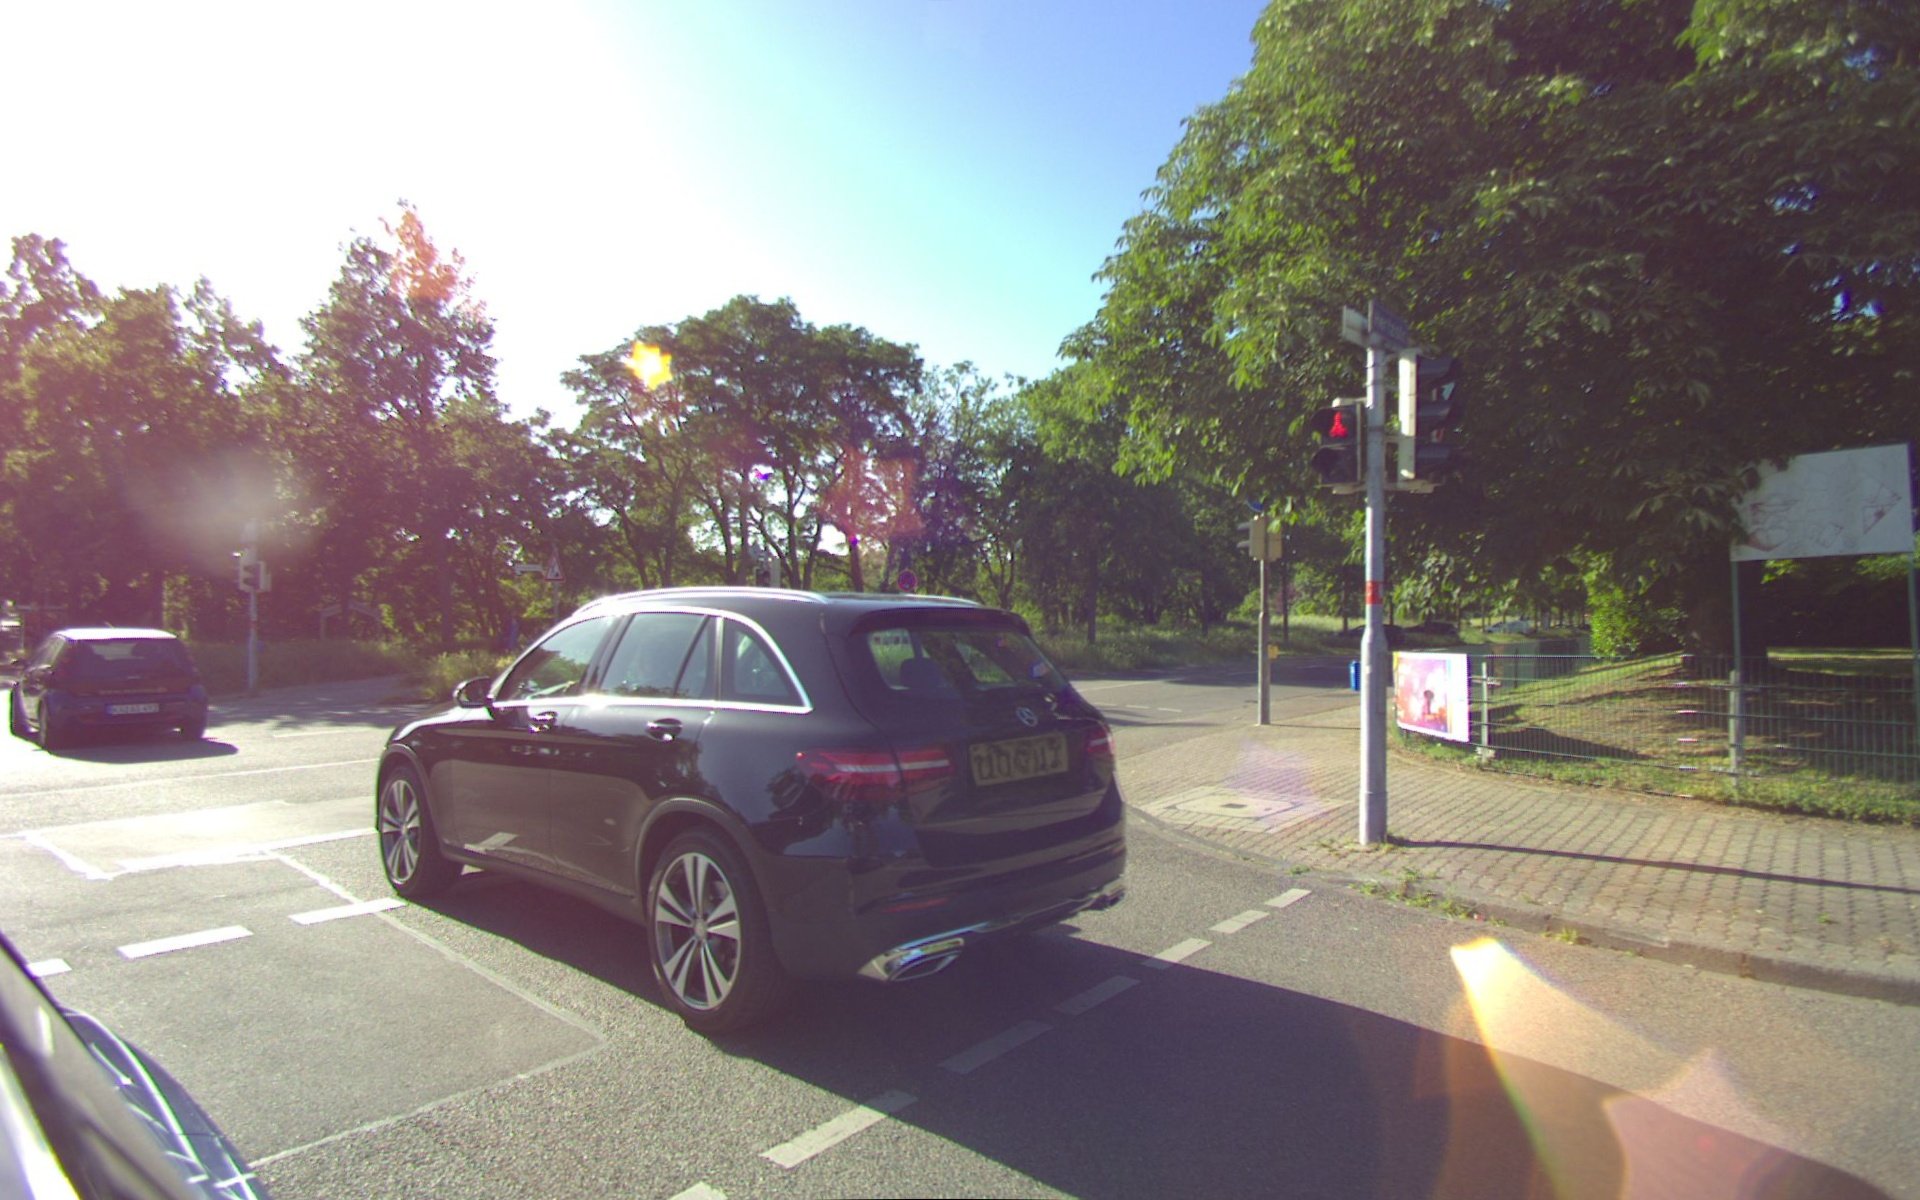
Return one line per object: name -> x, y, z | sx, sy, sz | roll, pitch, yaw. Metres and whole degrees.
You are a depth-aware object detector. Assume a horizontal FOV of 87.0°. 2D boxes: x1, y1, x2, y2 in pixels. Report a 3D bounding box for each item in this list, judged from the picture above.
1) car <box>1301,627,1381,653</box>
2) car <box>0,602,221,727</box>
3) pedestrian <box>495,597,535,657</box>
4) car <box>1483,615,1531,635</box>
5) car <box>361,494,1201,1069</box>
car -> 22.036, 2.300, 58.598 | 3.997, 1.432, 1.620 | -1, 0, 40
car -> -11.744, 0.779, 13.853 | 3.848, 1.466, 1.787 | 0, -1, 41
pedestrian -> -12.358, 0.740, 28.090 | 0.647, 1.646, 0.790 | -2, 0, 42
car -> 55.450, 2.546, 102.549 | 3.994, 1.940, 1.975 | -2, 0, 38
car -> -1.213, 0.566, 5.033 | 4.391, 1.630, 1.795 | -1, -3, 42
